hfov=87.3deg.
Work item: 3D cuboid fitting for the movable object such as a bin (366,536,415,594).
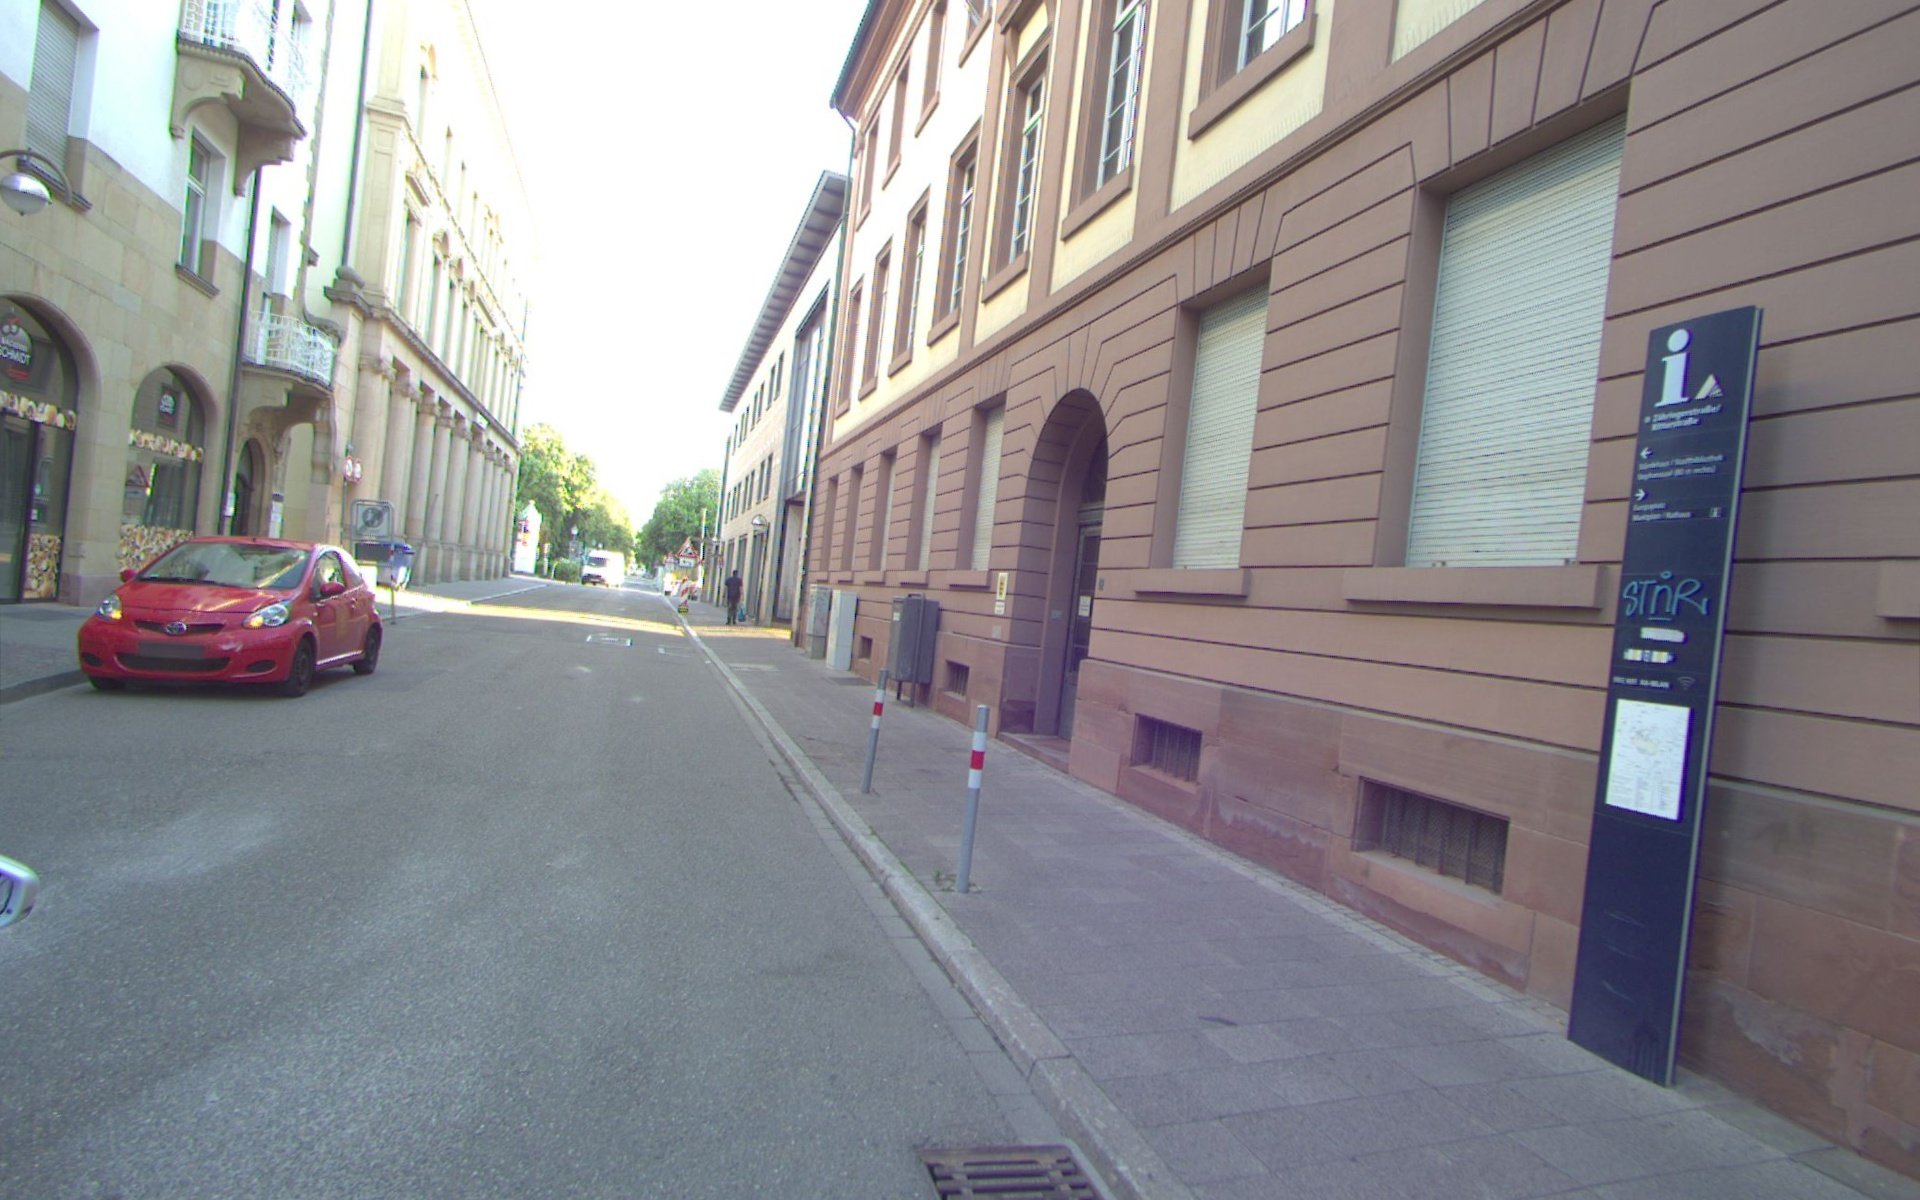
[{"bbox_3d":[-16.288,-0.986,28.819,0.819,1.521,1.286,7,0,-17],"label":"movable object such as a bin"}]

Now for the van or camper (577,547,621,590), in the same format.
[{"bbox_3d":[-25.627,-2.206,71.561,2.192,2.616,6.351,7,0,-15],"label":"van or camper"}]

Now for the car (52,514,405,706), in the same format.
[{"bbox_3d":[-7.082,0.061,10.247,1.637,1.489,3.918,4,0,-17],"label":"car"}]

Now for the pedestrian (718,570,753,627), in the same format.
[{"bbox_3d":[-7.436,-0.062,33.328,0.988,1.827,0.878,2,1,-19],"label":"pedestrian"}]
